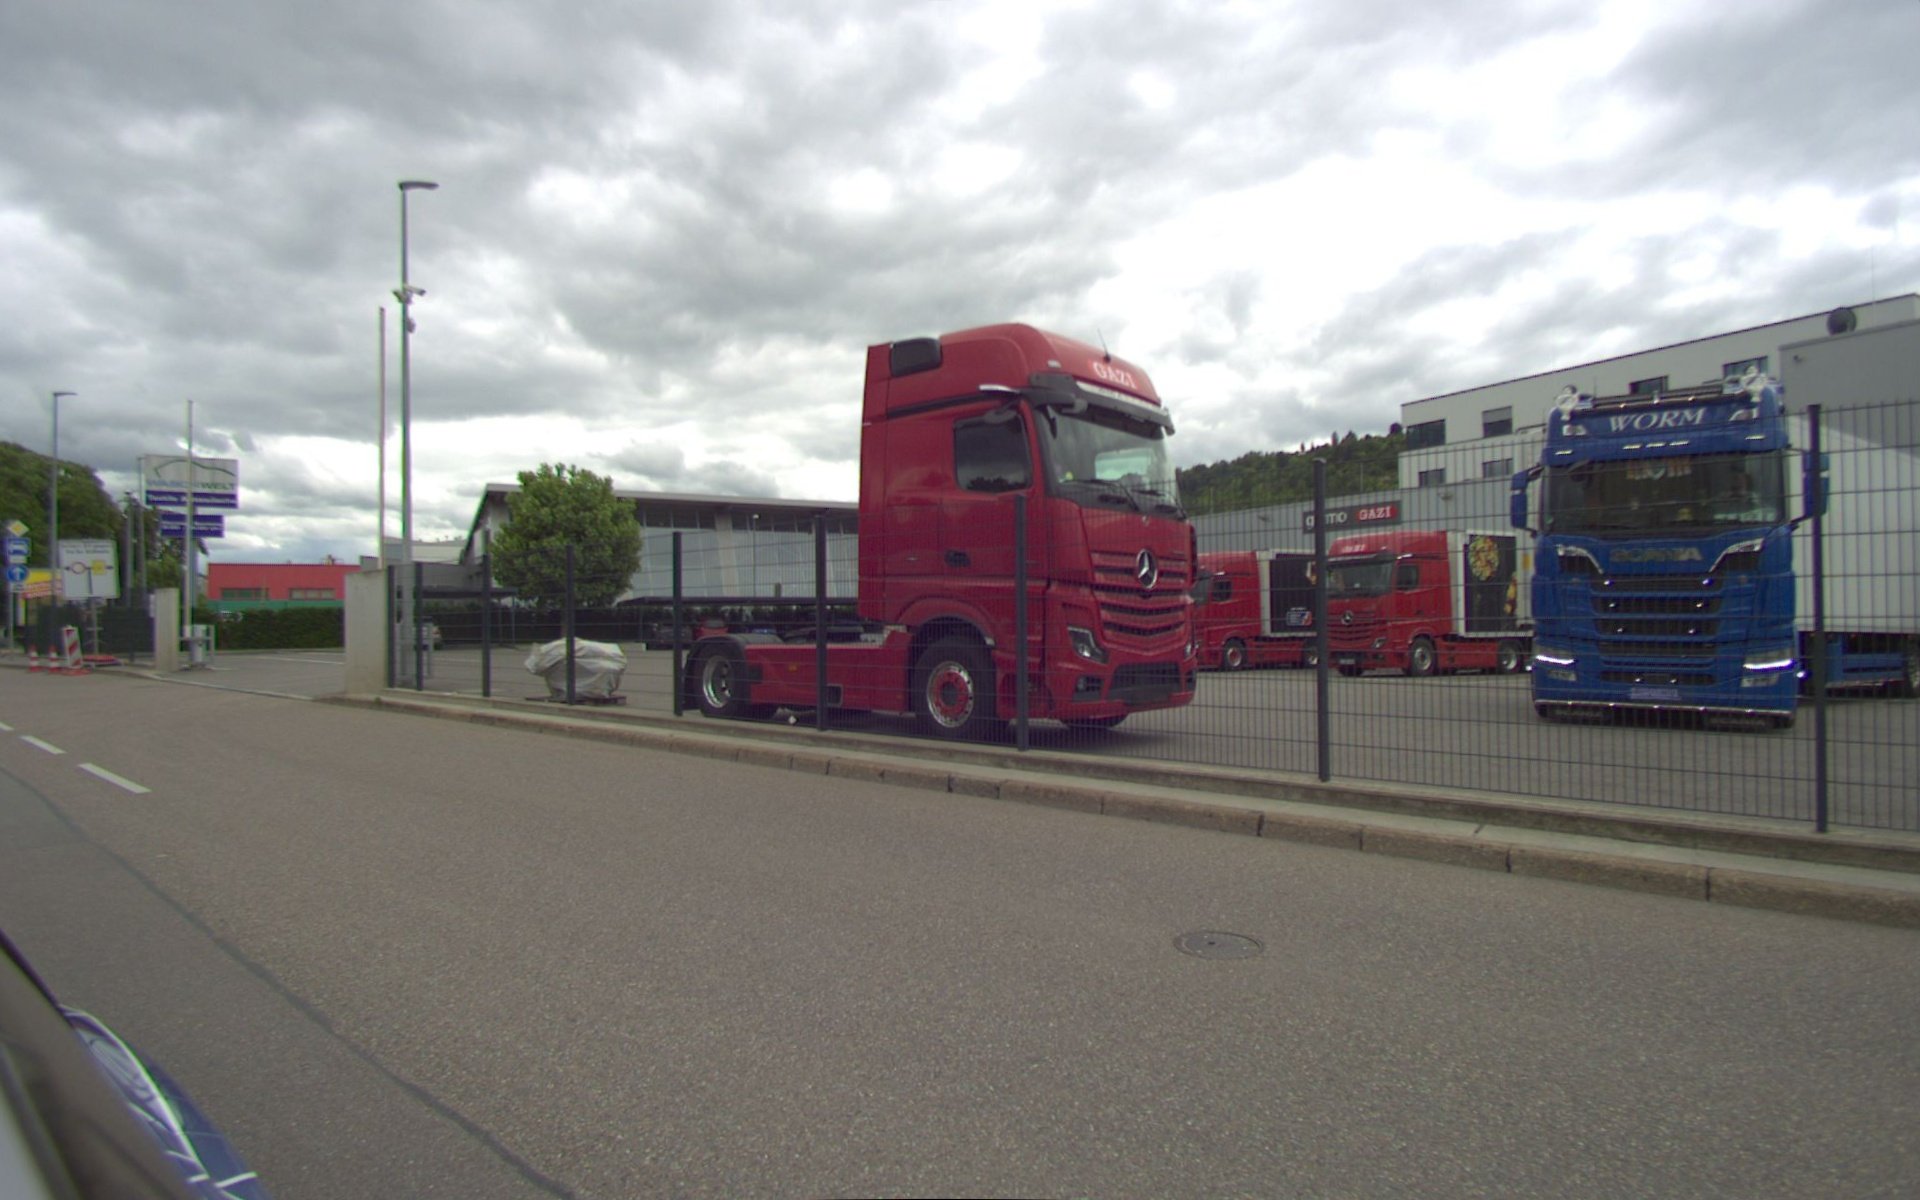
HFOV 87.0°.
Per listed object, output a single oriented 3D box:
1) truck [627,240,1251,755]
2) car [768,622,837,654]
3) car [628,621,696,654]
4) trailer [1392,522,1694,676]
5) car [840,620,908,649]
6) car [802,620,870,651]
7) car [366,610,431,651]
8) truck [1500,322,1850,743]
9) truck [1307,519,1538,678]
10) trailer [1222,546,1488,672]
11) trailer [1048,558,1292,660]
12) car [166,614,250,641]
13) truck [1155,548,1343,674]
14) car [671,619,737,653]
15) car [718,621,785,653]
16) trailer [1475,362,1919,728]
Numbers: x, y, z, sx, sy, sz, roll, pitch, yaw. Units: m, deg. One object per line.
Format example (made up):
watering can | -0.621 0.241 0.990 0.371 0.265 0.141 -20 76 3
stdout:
truck | -0.633 -0.756 11.368 6.940 4.051 2.890 -1 -1 42
car | -8.307 1.958 53.017 1.935 1.571 4.258 0 -1 -35
car | -14.523 1.782 49.188 1.935 1.503 4.258 0 -1 -35
trailer | 17.941 0.010 30.797 10.807 4.108 2.801 0 -1 -29
car | -4.842 1.888 56.408 1.935 1.571 4.258 0 -1 -35
car | -6.836 1.912 55.287 1.935 1.571 4.258 0 -1 -35
car | -24.188 1.283 43.538 2.039 1.682 4.258 0 -1 -35
truck | 8.866 -0.616 12.866 2.924 4.051 5.550 -1 -1 34
truck | 12.733 -0.004 27.826 5.823 3.958 2.811 0 -1 -29
trailer | 14.590 0.323 36.878 10.807 4.108 2.801 0 -1 -29
trailer | 9.418 0.404 44.563 11.213 4.108 3.101 0 -1 -29
car | -46.476 1.680 62.569 2.001 1.547 3.942 -1 -1 44
truck | 9.793 0.369 34.248 5.823 3.958 2.811 0 -1 -29
car | -13.086 1.781 51.549 1.935 1.660 4.258 0 -1 -35
car | -10.883 1.892 52.582 1.935 1.571 4.258 0 -1 -35
trailer | 13.755 -0.601 16.812 13.785 4.215 3.044 0 -1 -35
